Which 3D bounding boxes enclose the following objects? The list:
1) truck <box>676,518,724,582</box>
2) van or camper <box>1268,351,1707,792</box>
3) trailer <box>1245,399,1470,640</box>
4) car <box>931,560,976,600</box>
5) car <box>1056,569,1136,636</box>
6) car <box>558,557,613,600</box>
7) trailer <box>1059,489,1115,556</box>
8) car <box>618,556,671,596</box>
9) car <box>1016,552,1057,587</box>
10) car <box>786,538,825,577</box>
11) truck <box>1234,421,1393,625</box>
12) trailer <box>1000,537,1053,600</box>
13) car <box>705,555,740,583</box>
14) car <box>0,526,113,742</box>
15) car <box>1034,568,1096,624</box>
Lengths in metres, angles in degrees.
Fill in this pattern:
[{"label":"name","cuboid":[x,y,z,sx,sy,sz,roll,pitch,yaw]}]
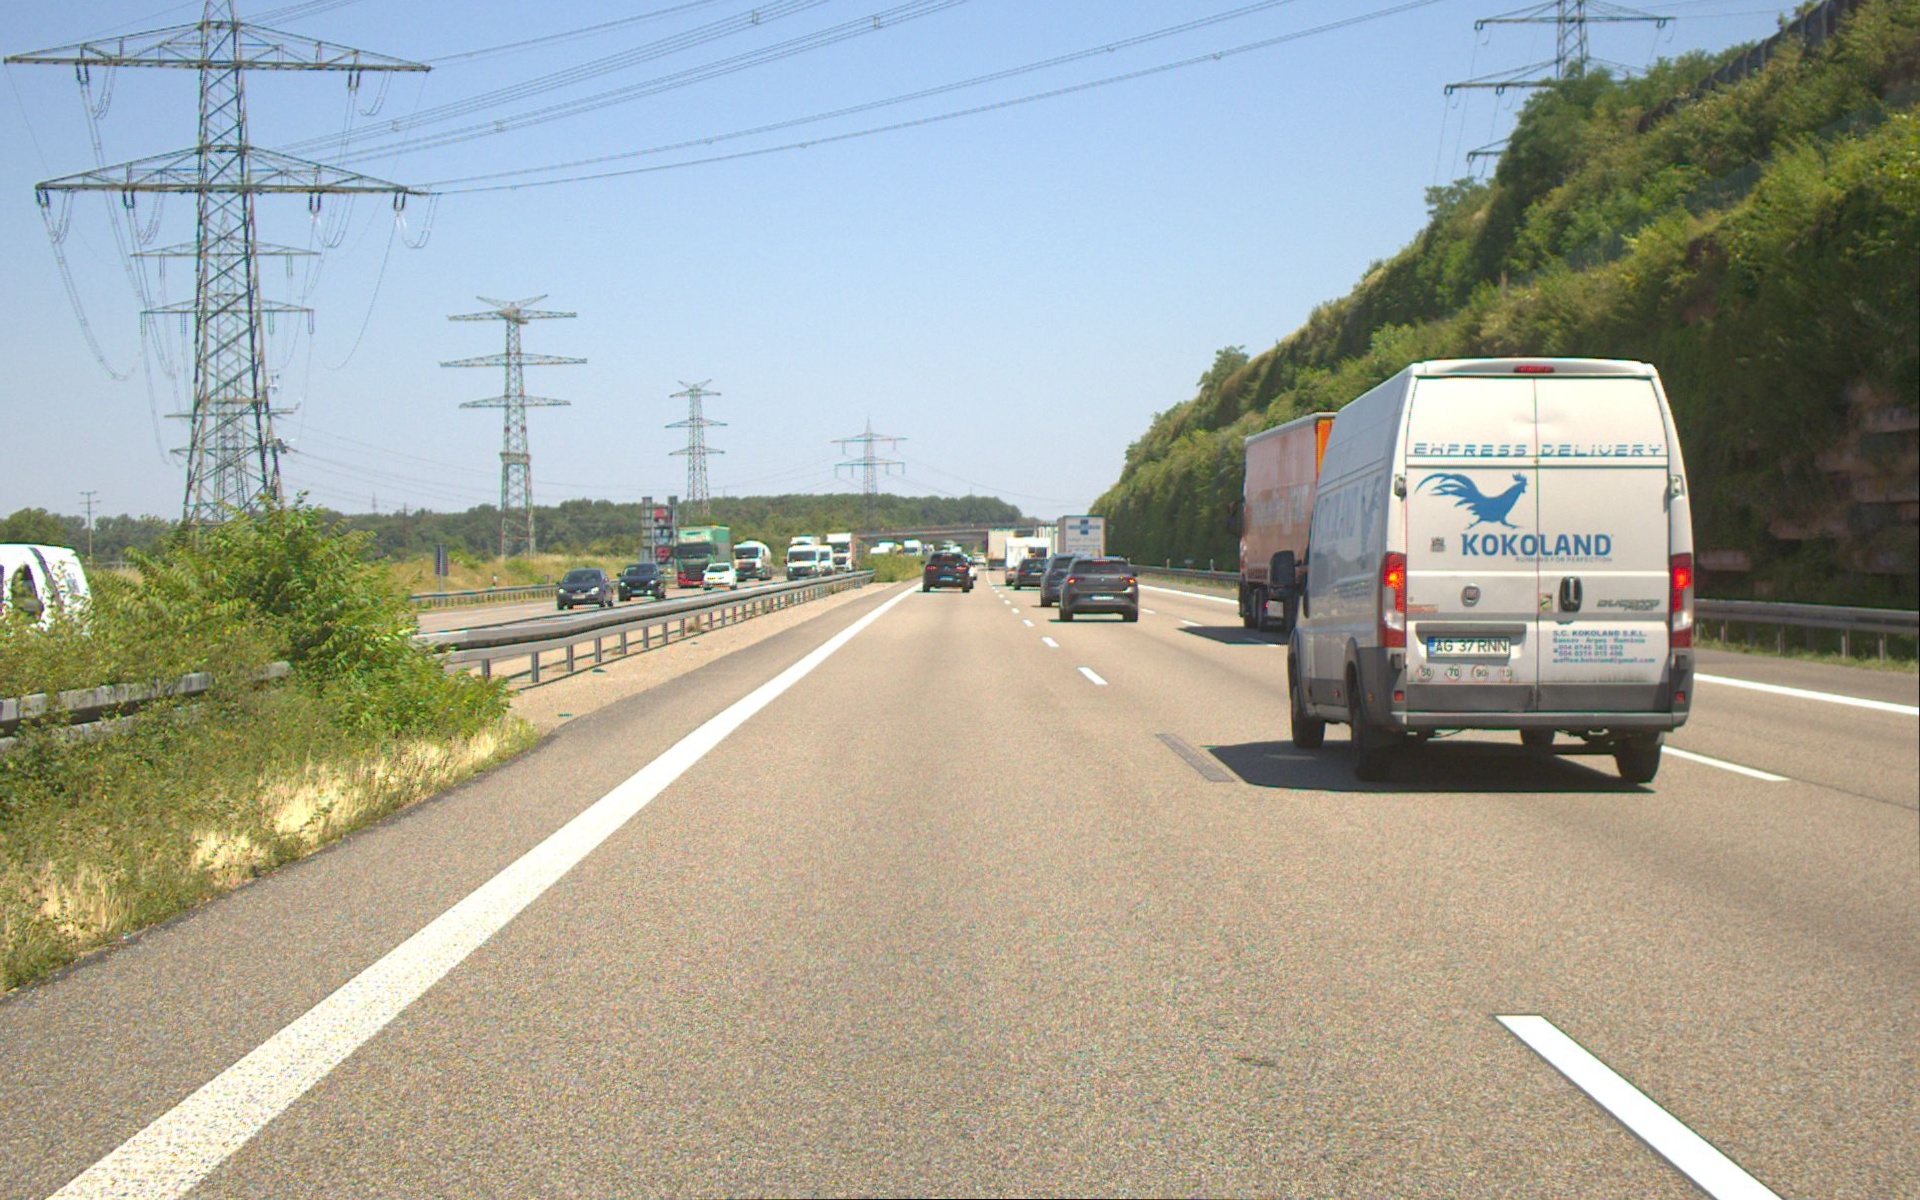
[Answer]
[{"label":"truck","cuboid":[-17.440,-3.358,230.939,2.699,4.120,6.581,-1,1,0]},{"label":"van or camper","cuboid":[3.612,-0.228,24.928,2.096,2.759,6.757,0,1,0]},{"label":"trailer","cuboid":[7.146,-1.440,63.765,2.645,3.991,13.606,0,1,0]},{"label":"car","cuboid":[-0.273,-0.858,145.820,1.830,1.665,4.000,-1,1,0]},{"label":"car","cuboid":[3.222,0.035,82.141,1.749,1.520,3.995,-1,1,0]},{"label":"car","cuboid":[-13.954,-0.828,128.293,1.617,1.455,4.284,-4,1,-2]},{"label":"trailer","cuboid":[8.087,-4.942,220.873,3.183,4.107,13.431,-1,1,1]},{"label":"car","cuboid":[-14.039,-1.070,153.170,1.840,1.624,4.414,-3,1,0]},{"label":"car","cuboid":[3.501,-1.407,157.715,1.830,1.520,4.000,-1,1,1]},{"label":"car","cuboid":[-9.548,-2.641,213.200,2.108,2.290,6.707,-1,1,0]},{"label":"truck","cuboid":[7.188,-1.555,70.618,2.618,3.979,6.526,0,1,0]},{"label":"trailer","cuboid":[3.488,-1.680,182.099,2.610,3.202,9.953,-1,1,0]},{"label":"car","cuboid":[-13.981,-1.843,202.578,1.707,1.518,4.514,-3,1,0]},{"label":"car","cuboid":[-9.442,0.289,32.476,1.762,1.918,4.772,-1,1,-1]},{"label":"car","cuboid":[3.182,-0.129,105.012,1.794,1.647,4.138,0,1,1]}]
